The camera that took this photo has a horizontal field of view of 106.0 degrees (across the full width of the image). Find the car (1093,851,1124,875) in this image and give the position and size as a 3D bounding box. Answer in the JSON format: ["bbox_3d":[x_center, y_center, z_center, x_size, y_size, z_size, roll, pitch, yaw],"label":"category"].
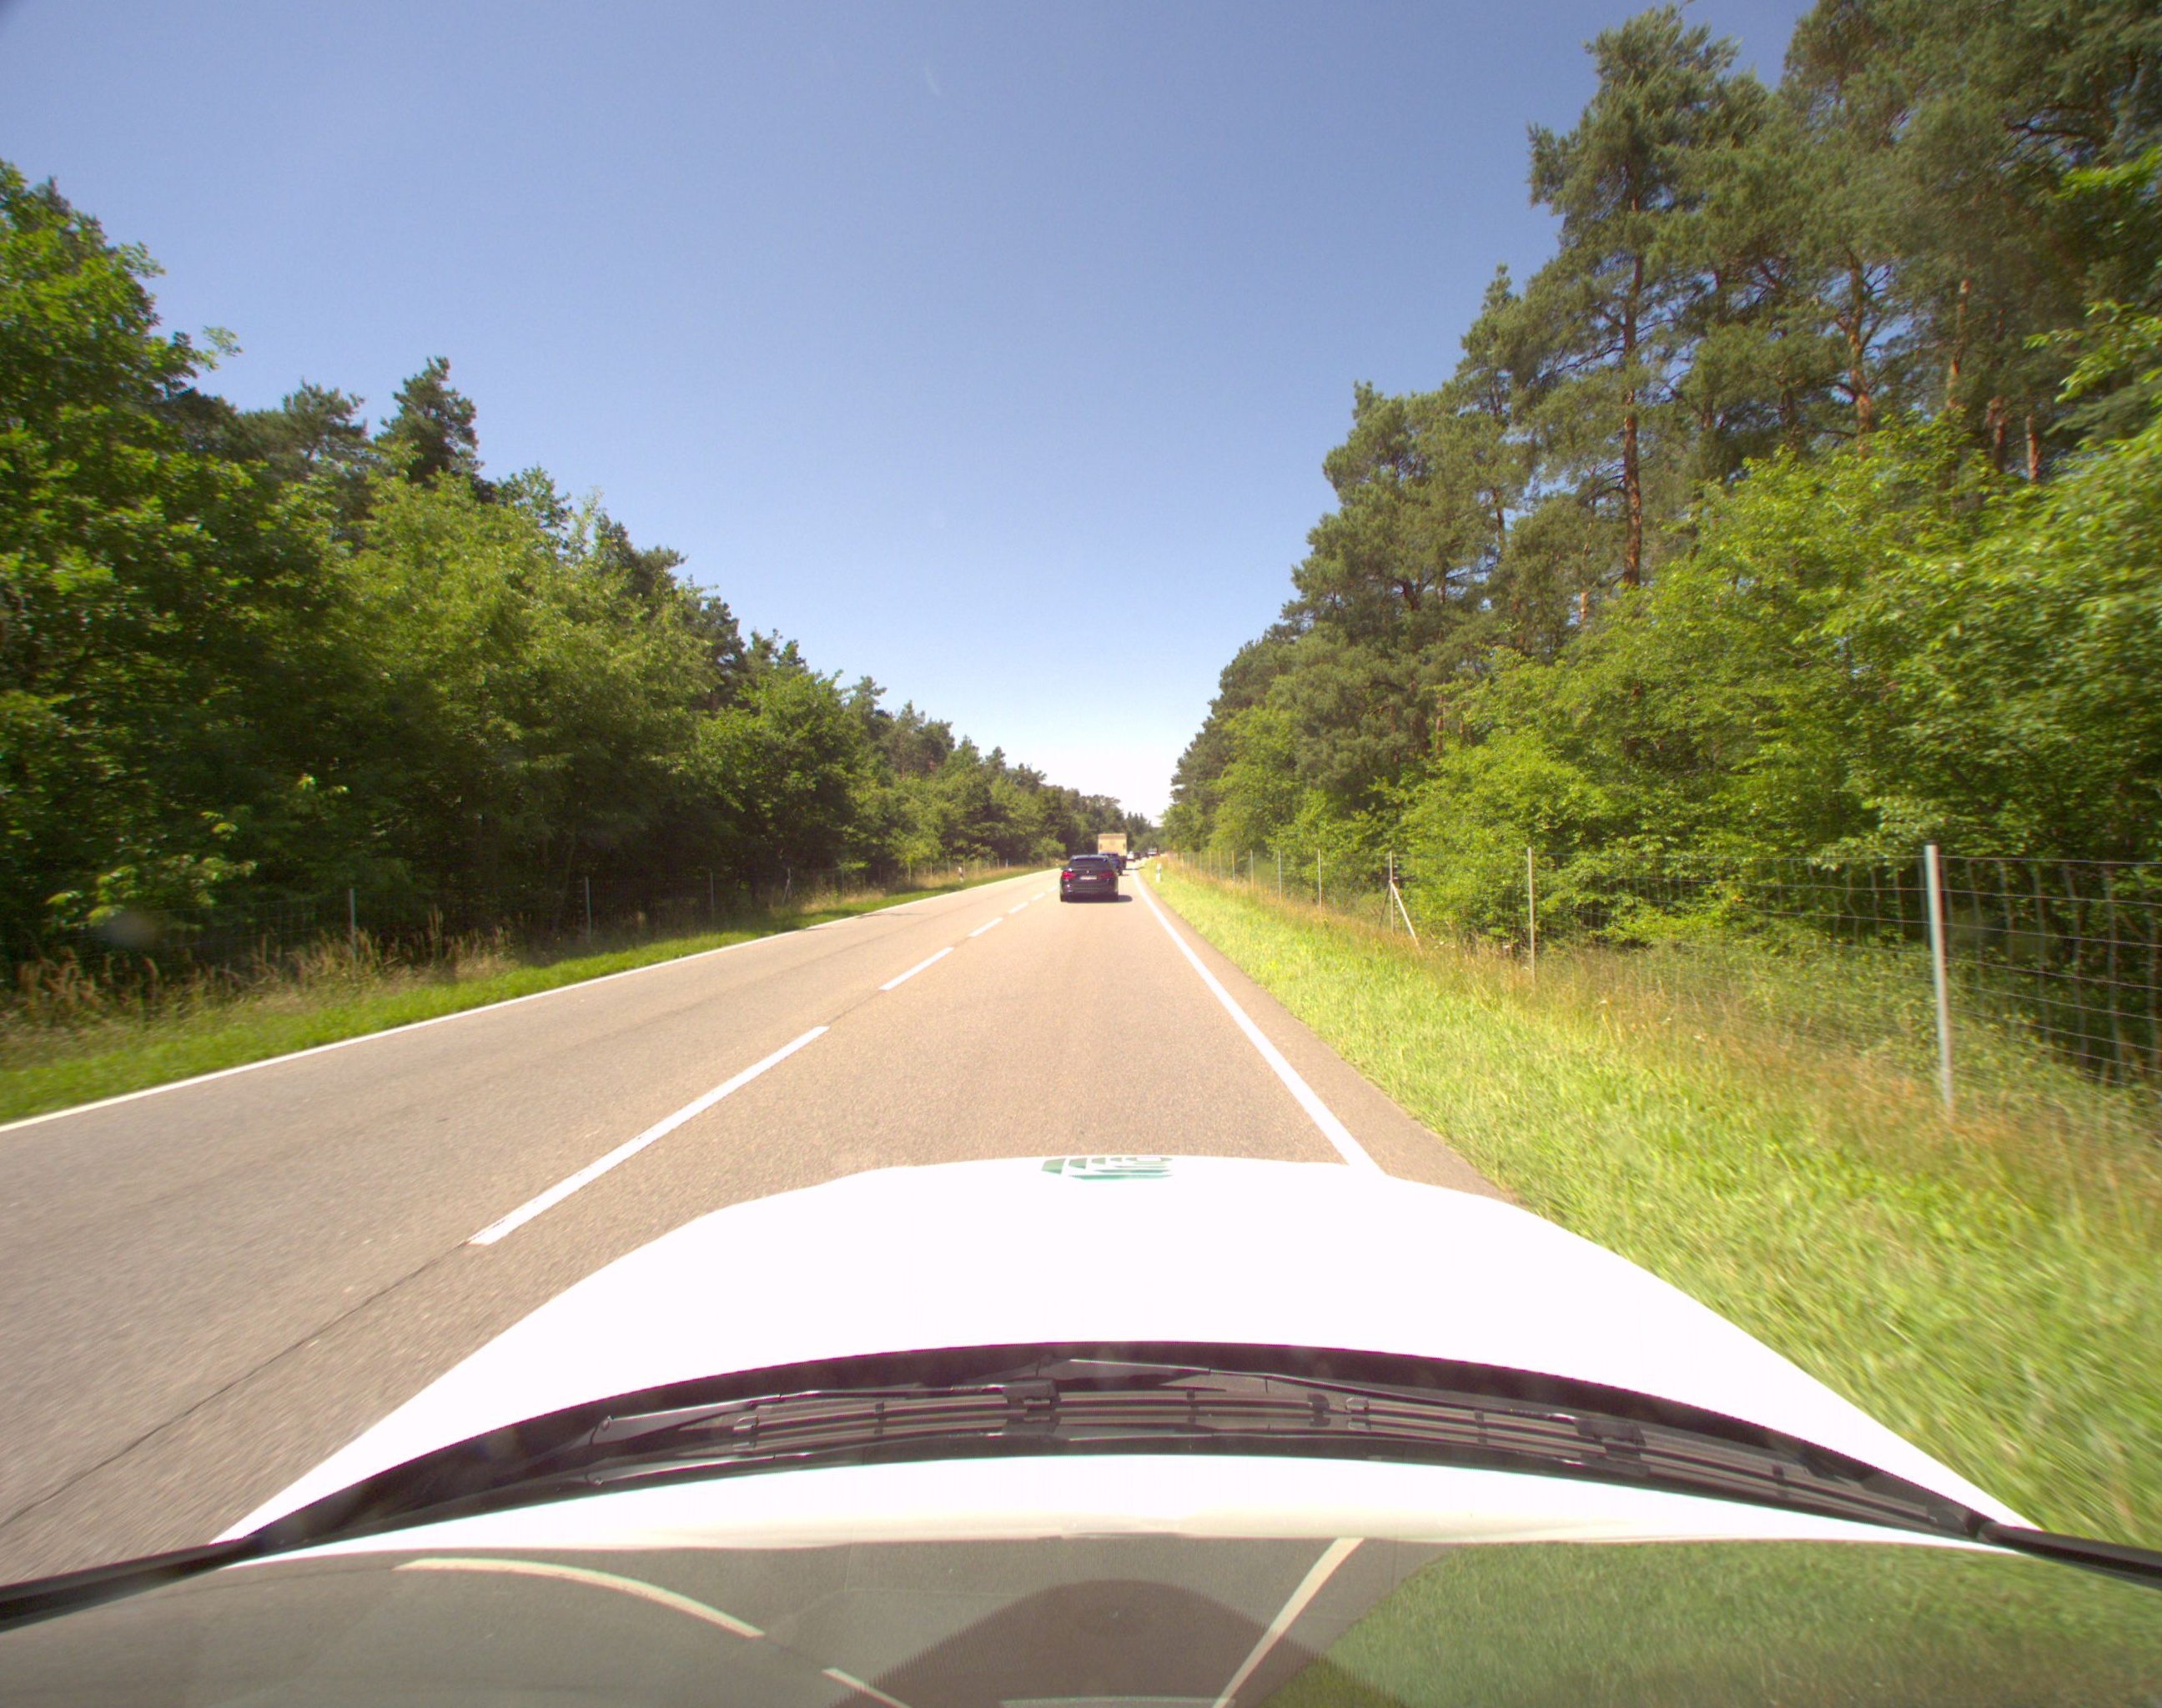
[{"bbox_3d":[1.867,0.586,55.458,1.940,1.541,4.002,-3,0,2],"label":"car"}]

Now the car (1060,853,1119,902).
[{"bbox_3d":[0.270,0.716,26.877,1.814,1.470,4.000,0,0,0],"label":"car"}]

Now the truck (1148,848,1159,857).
[{"bbox_3d":[19.059,-0.495,214.942,2.549,2.202,4.985,-2,0,8],"label":"truck"}]

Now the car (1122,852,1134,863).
[{"bbox_3d":[7.344,0.471,127.300,1.856,1.605,4.002,-2,0,2],"label":"car"}]

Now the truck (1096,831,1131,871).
[{"bbox_3d":[2.895,-0.285,74.547,2.956,3.387,6.438,-2,0,0],"label":"truck"}]

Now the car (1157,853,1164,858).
[{"bbox_3d":[24.056,0.387,246.426,1.784,1.354,3.938,-2,0,9],"label":"car"}]

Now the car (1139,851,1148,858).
[{"bbox_3d":[14.607,0.127,191.305,1.984,1.636,4.006,-3,0,5],"label":"car"}]

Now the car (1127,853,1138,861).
[{"bbox_3d":[9.901,0.543,155.876,1.986,1.420,4.002,-1,0,2],"label":"car"}]
